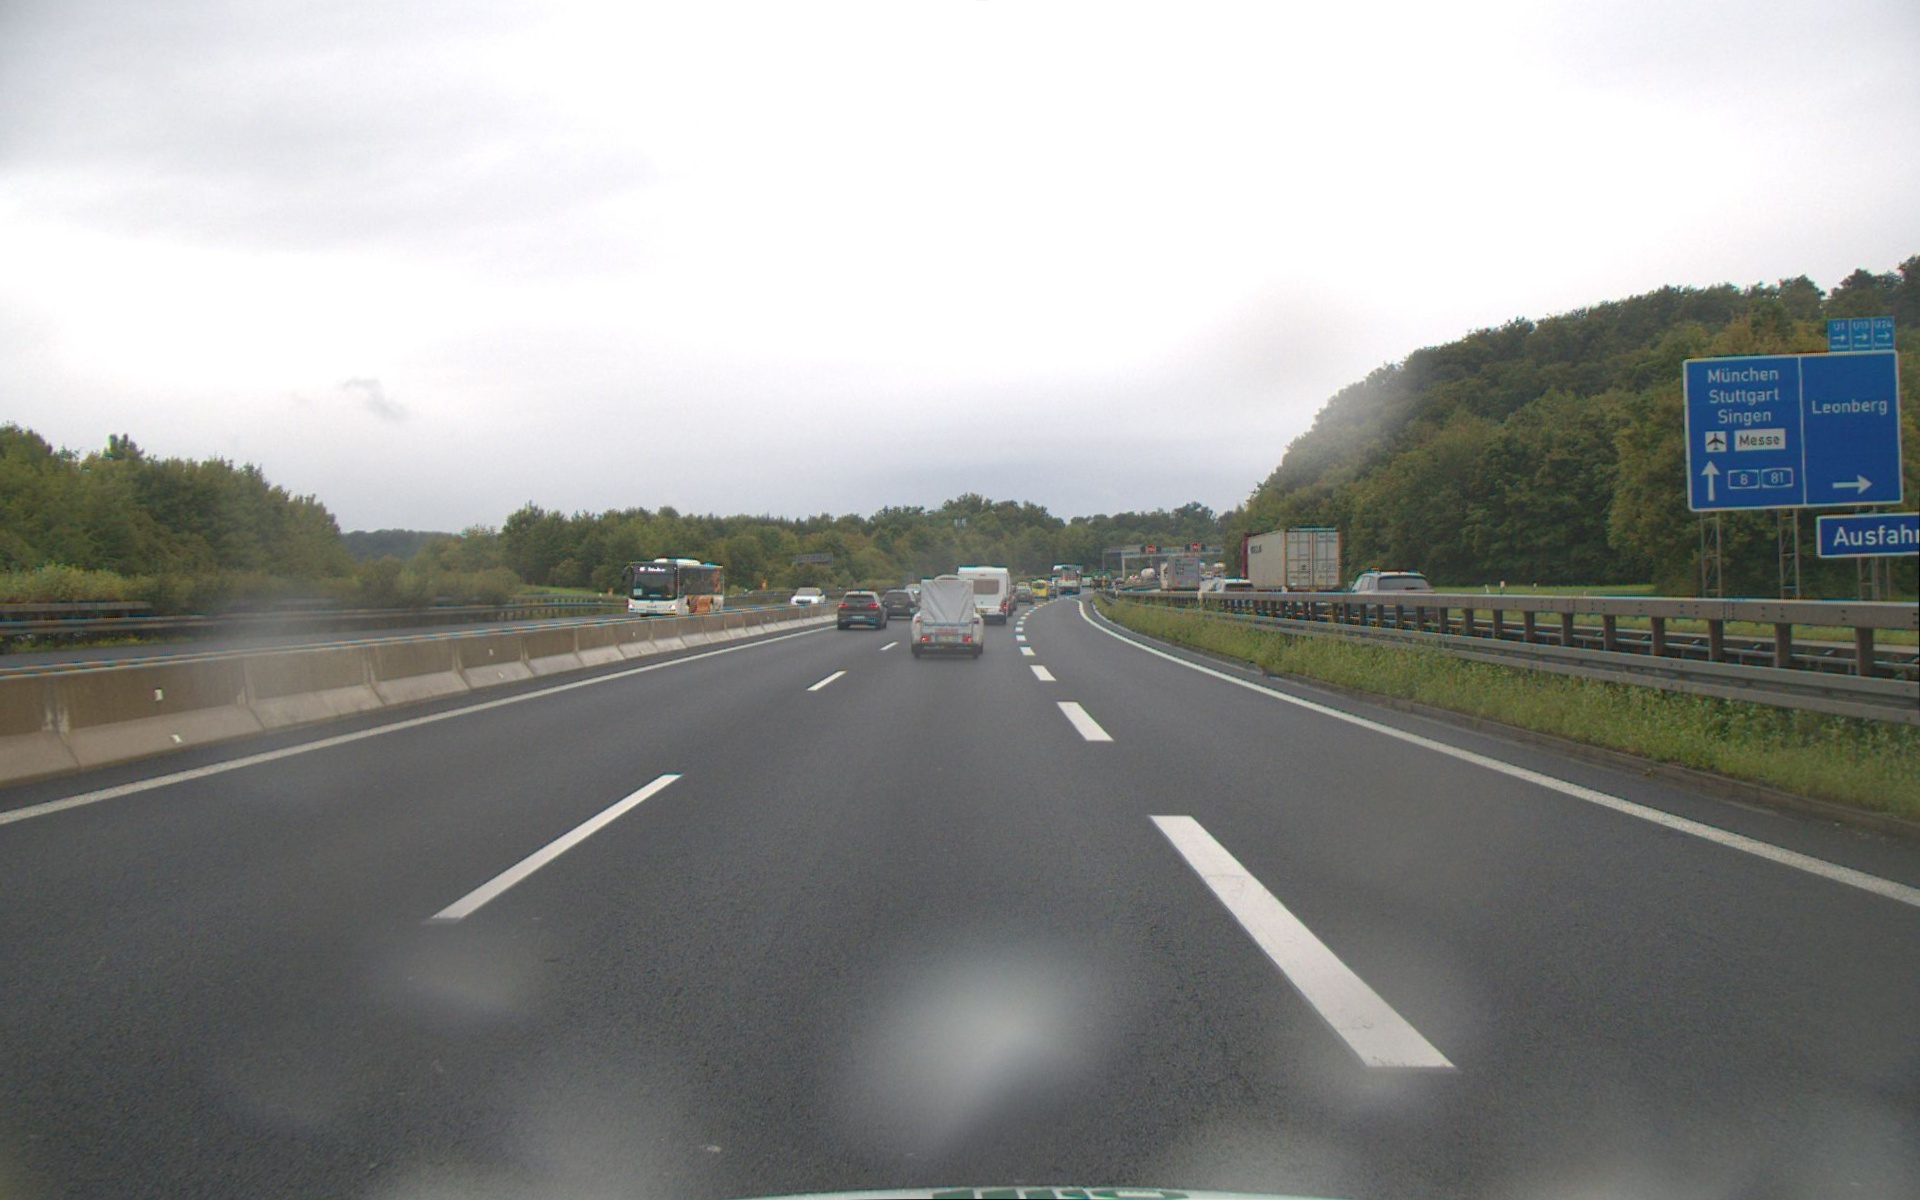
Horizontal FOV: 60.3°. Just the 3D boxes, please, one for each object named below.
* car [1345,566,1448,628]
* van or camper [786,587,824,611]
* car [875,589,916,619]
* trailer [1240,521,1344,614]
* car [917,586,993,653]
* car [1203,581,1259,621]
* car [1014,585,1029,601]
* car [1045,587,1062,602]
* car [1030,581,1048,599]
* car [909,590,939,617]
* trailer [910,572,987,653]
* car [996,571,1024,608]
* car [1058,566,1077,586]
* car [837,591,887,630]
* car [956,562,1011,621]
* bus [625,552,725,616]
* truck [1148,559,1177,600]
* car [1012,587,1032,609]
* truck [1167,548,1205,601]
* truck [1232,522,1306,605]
[{"bbox_3d":[10.870,-0.078,41.450,1.632,1.407,4.127,-2,0,3],"label":"car"},{"bbox_3d":[-9.887,-0.072,106.086,1.711,1.473,4.588,-1,0,4],"label":"van or camper"},{"bbox_3d":[-3.260,0.213,84.218,1.728,1.481,4.001,0,0,2],"label":"car"},{"bbox_3d":[15.270,-1.398,77.029,2.550,3.962,12.492,0,0,1],"label":"trailer"},{"bbox_3d":[-0.076,0.489,43.246,1.780,1.644,4.779,0,0,2],"label":"car"},{"bbox_3d":[11.623,0.036,71.231,1.733,1.638,4.644,0,0,1],"label":"car"},{"bbox_3d":[7.980,-0.887,214.667,1.952,2.049,4.001,0,0,1],"label":"car"},{"bbox_3d":[10.969,-0.631,194.143,1.994,1.712,4.002,0,0,4],"label":"car"},{"bbox_3d":[8.307,-1.067,174.057,1.640,1.844,4.002,0,0,5],"label":"car"},{"bbox_3d":[-2.248,0.252,105.089,1.739,1.669,4.043,0,0,1],"label":"car"},{"bbox_3d":[-0.227,0.296,39.742,1.641,1.844,4.001,0,0,2],"label":"trailer"},{"bbox_3d":[2.930,-0.591,97.242,1.641,2.103,4.001,0,0,1],"label":"car"},{"bbox_3d":[14.834,-3.263,227.647,2.462,2.620,5.315,0,0,5],"label":"car"},{"bbox_3d":[-3.841,0.414,65.154,1.641,1.481,4.000,0,0,1],"label":"car"},{"bbox_3d":[1.083,-0.367,77.342,2.456,2.630,5.700,0,0,1],"label":"car"},{"bbox_3d":[-14.853,-0.783,87.184,2.642,3.010,11.901,-2,0,2],"label":"bus"},{"bbox_3d":[24.507,-2.423,201.031,3.147,4.748,13.041,0,0,6],"label":"truck"},{"bbox_3d":[5.386,-0.182,144.590,1.641,1.844,4.000,0,0,1],"label":"car"},{"bbox_3d":[21.140,-2.253,155.364,3.147,4.748,13.041,0,0,6],"label":"truck"},{"bbox_3d":[15.382,-1.752,82.706,2.562,3.952,6.392,0,0,1],"label":"truck"}]
